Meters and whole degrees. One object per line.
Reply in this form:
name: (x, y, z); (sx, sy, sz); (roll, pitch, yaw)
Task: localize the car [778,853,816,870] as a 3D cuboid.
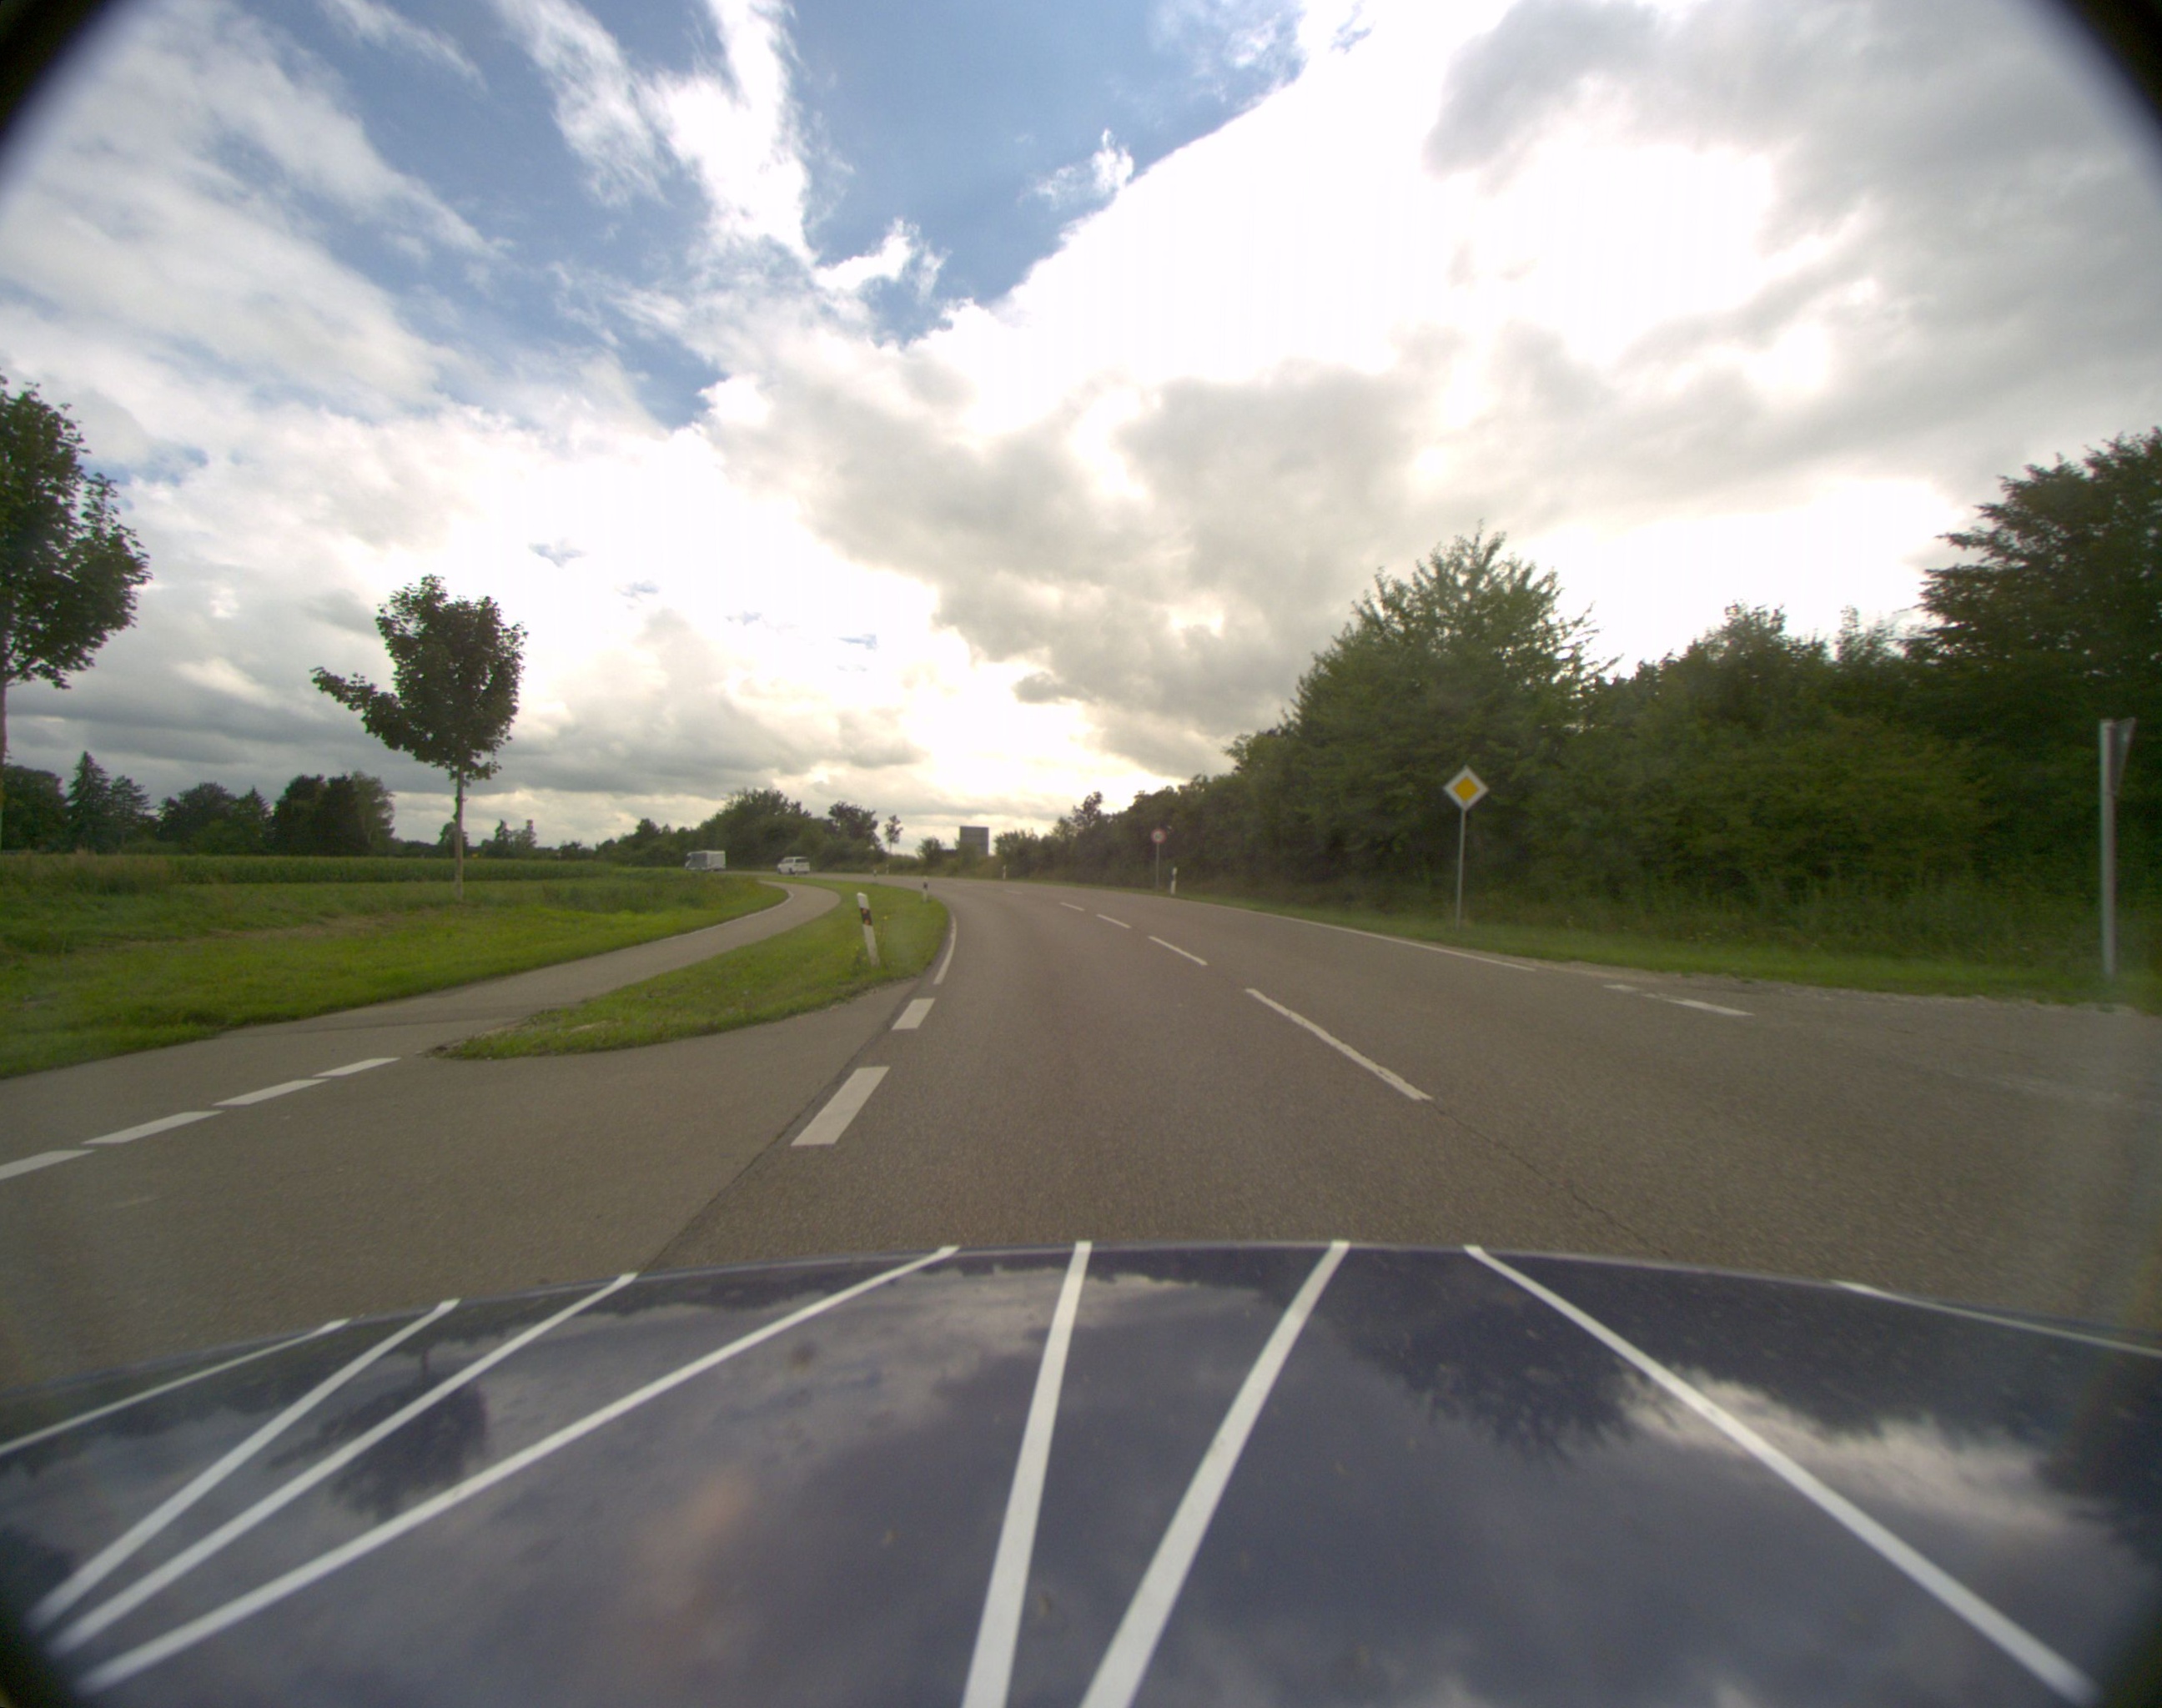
car: (-32.433, 0.842, 86.719); (2.124, 1.858, 5.171); (-1, 0, -45)

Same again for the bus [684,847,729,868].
bus: (-50.720, 0.500, 102.800); (8.405, 2.695, 2.488); (0, 0, 43)
